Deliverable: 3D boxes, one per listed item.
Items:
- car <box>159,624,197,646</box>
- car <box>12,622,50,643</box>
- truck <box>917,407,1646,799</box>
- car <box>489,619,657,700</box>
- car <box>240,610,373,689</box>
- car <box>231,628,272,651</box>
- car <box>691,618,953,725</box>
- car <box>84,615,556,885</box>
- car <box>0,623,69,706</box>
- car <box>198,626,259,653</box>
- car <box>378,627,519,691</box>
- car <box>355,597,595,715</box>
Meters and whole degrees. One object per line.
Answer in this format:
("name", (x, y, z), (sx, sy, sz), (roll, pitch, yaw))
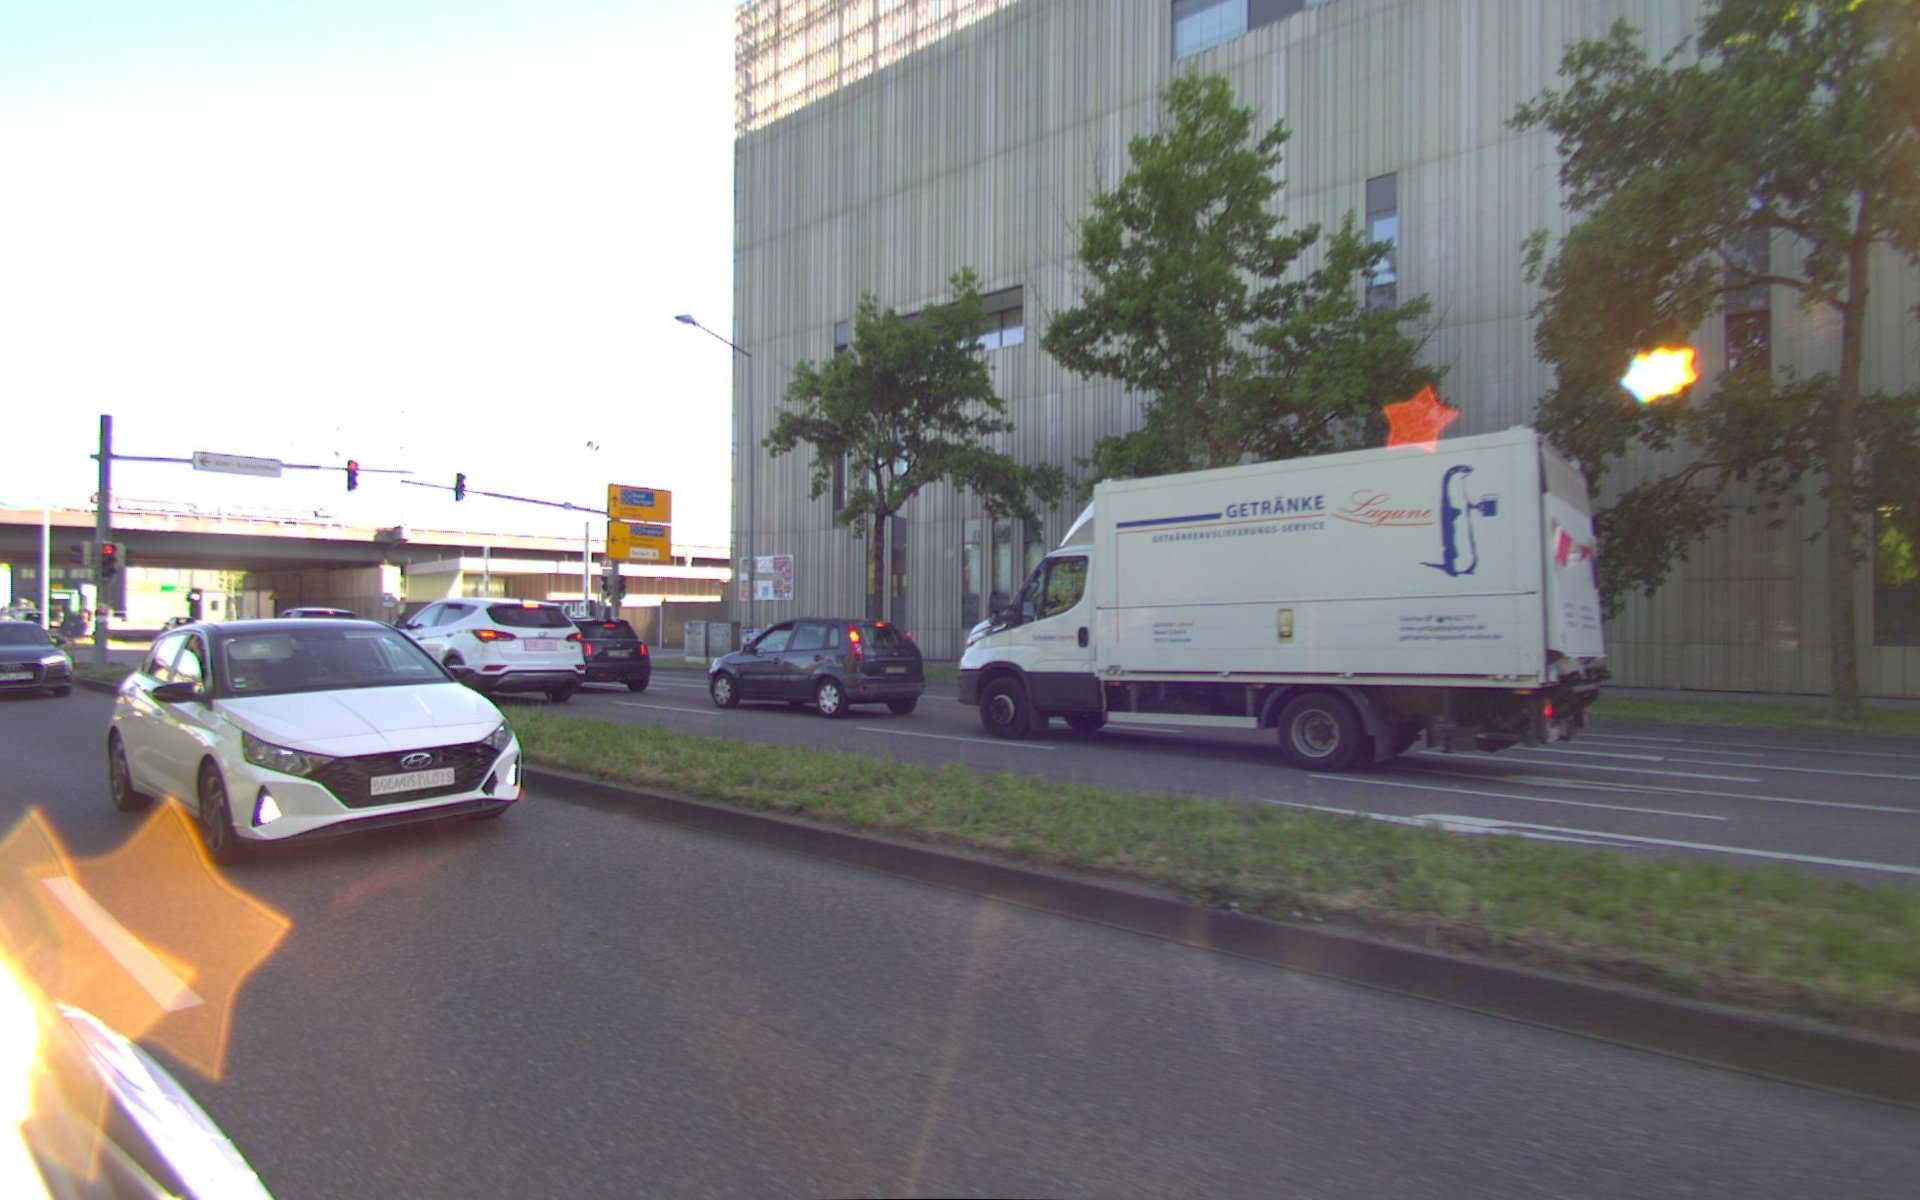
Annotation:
("car", (-57.988, 2.596, 75.021), (3.424, 1.544, 1.551), (-2, -2, 41))
("car", (-70.069, 2.451, 76.335), (3.998, 1.552, 1.611), (-1, -4, 41))
("truck", (3.041, 0.133, 11.060), (7.110, 2.983, 2.658), (-1, -4, 41))
("car", (-7.798, 1.156, 20.264), (3.638, 1.481, 1.603), (-2, -4, 41))
("car", (-14.226, 1.050, 21.984), (3.211, 1.592, 1.585), (-1, -3, 41))
("car", (-46.148, 2.553, 65.906), (1.473, 1.422, 3.940), (2, -3, -45))
("car", (-2.203, 1.053, 15.627), (3.997, 1.435, 1.816), (-2, -4, 40))
("car", (-4.804, 0.842, 7.370), (4.071, 1.419, 1.760), (-1, -1, 40))
("car", (-18.077, 1.143, 18.785), (4.362, 1.415, 1.680), (-1, -2, 40))
("car", (-41.416, 2.232, 57.264), (4.877, 1.452, 1.685), (-1, -3, 40))
("car", (-12.651, 1.423, 24.961), (3.749, 1.452, 1.686), (-2, -3, 39))
("car", (-8.147, 0.887, 16.807), (4.655, 1.695, 1.805), (-1, -4, 40))
